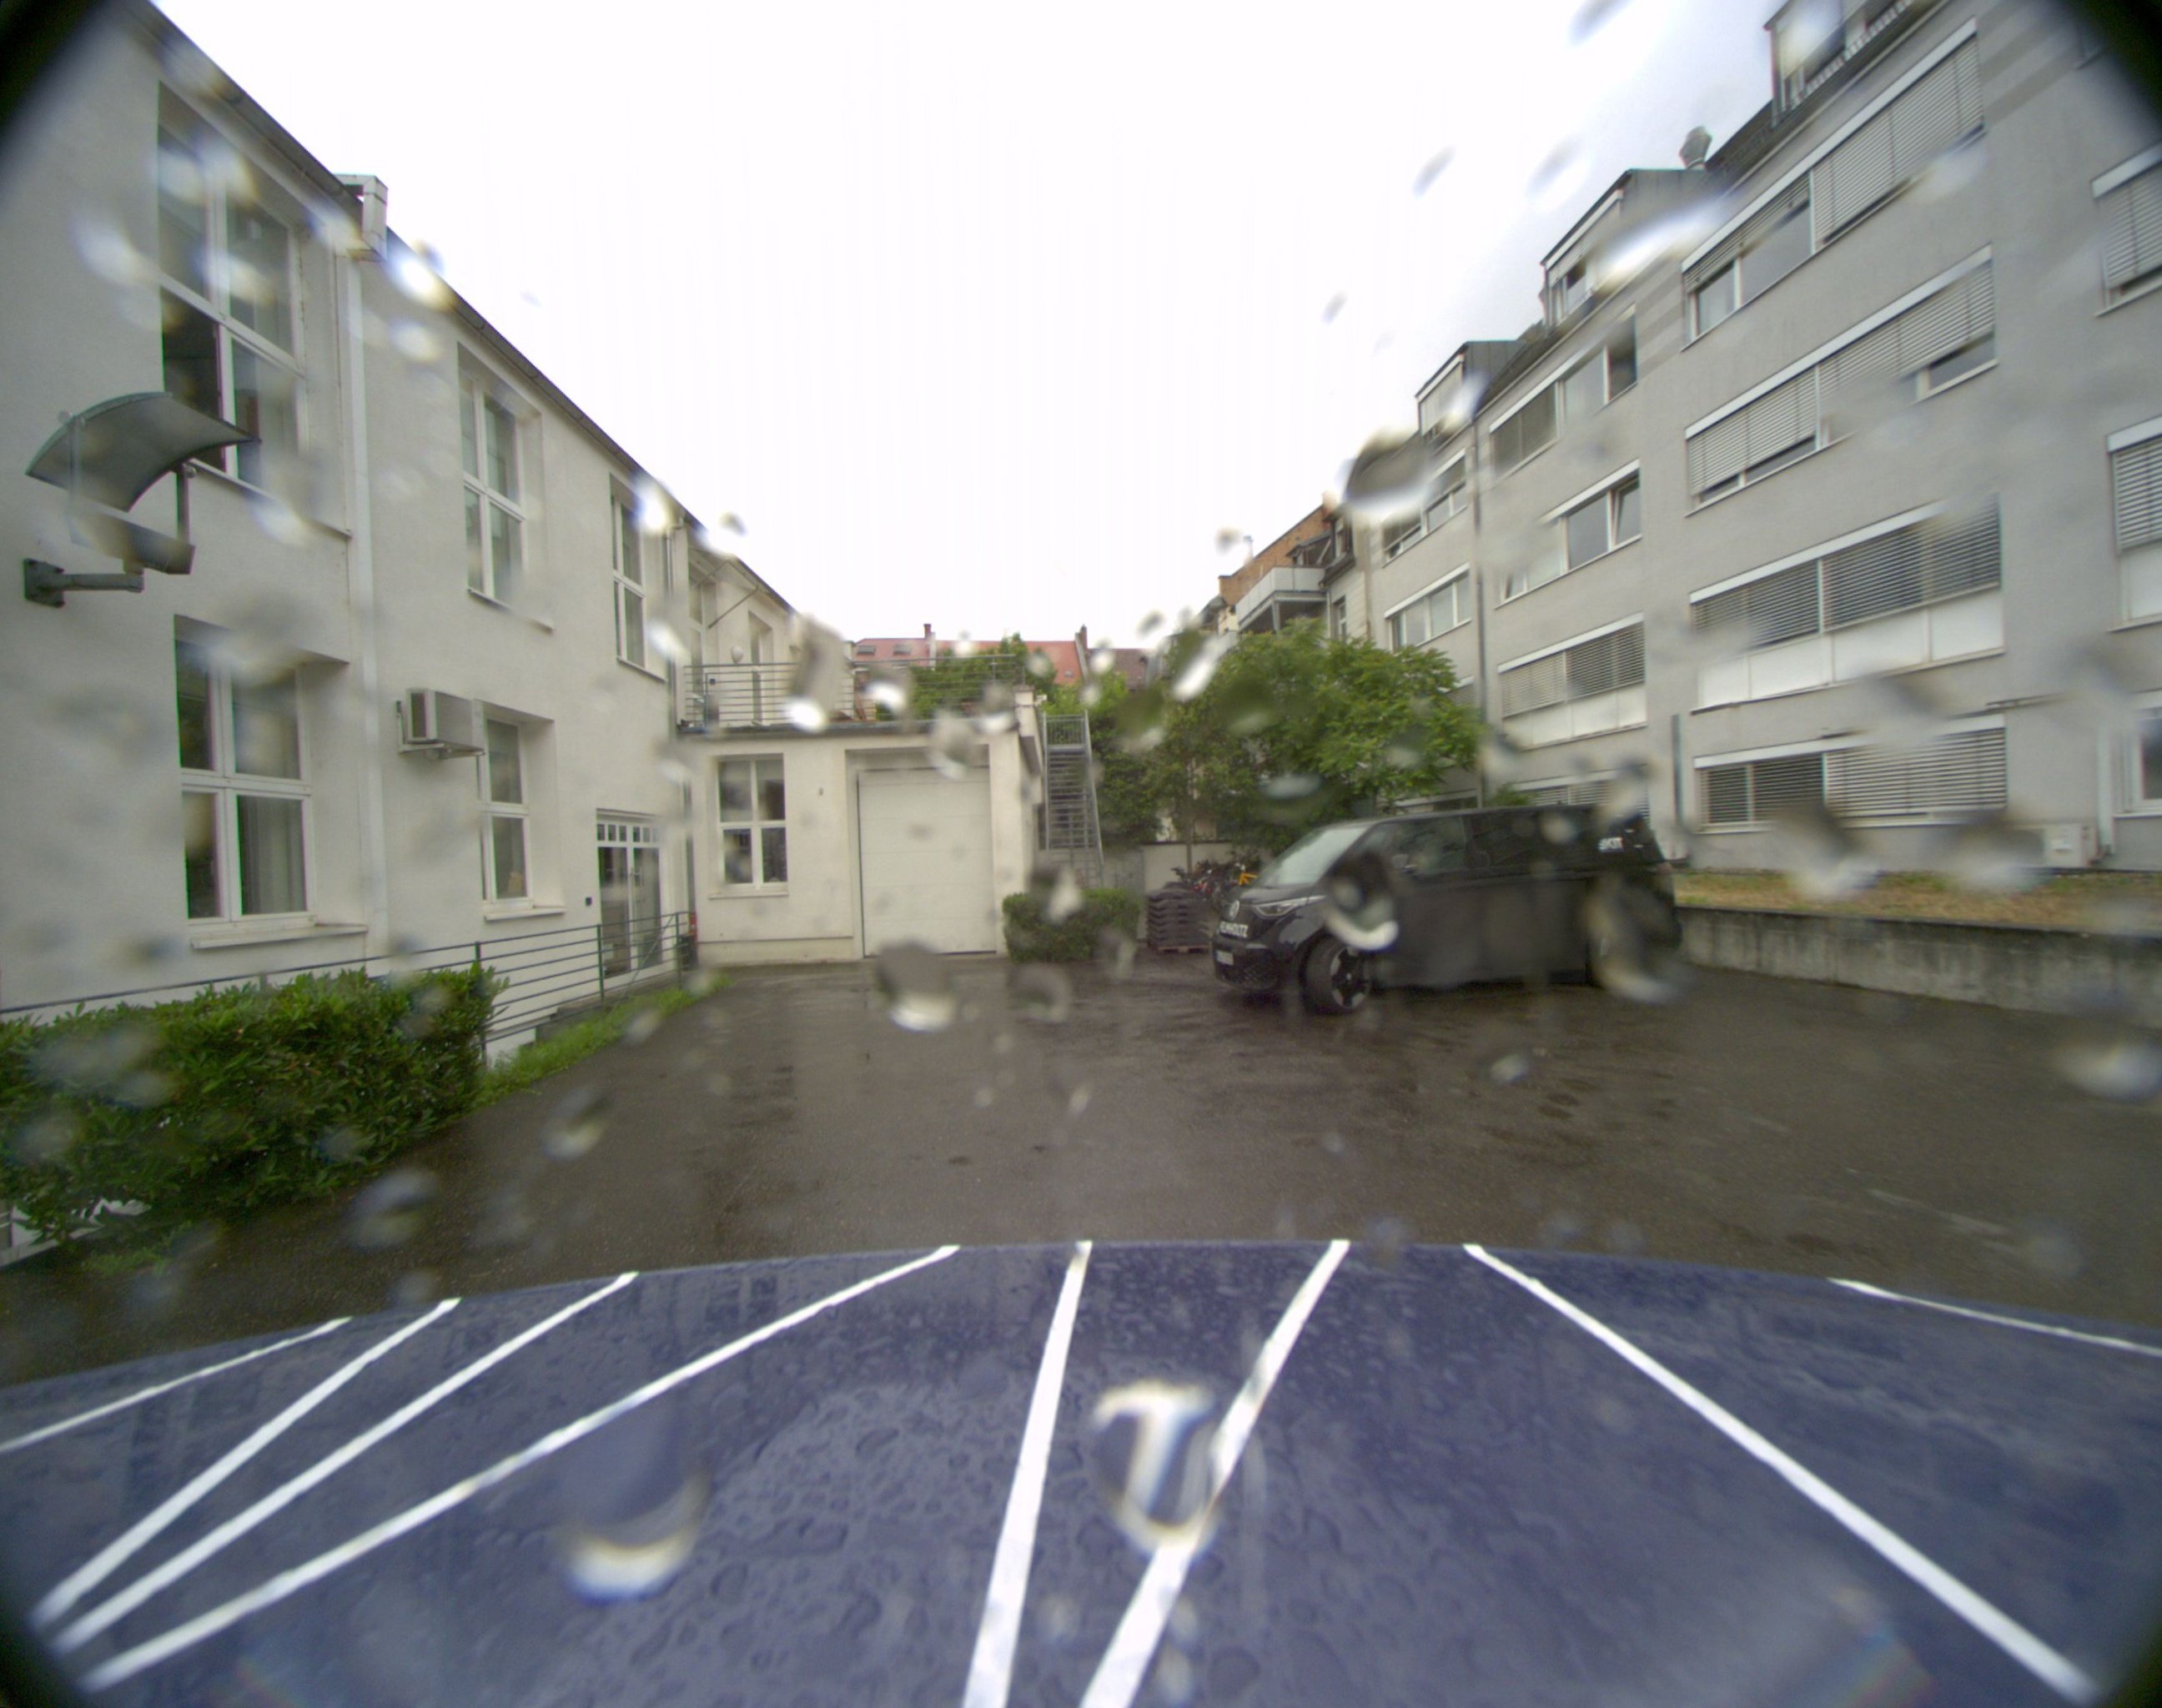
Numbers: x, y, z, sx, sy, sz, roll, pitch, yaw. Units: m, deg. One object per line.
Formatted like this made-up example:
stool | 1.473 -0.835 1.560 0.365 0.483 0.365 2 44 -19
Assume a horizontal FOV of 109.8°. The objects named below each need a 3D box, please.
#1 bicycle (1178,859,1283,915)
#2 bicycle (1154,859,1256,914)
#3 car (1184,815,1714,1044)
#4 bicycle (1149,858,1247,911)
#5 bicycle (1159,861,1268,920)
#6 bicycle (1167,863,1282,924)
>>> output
bicycle | 3.517 0.764 17.930 2.319 1.180 0.643 -2 3 -1
bicycle | 2.986 0.766 18.417 2.319 1.180 0.643 -2 3 -1
car | 3.655 0.664 7.989 4.631 1.825 1.987 -3 -1 -9
bicycle | 2.917 0.743 19.047 2.319 1.180 0.643 -2 3 -1
bicycle | 2.987 0.814 17.250 2.319 1.180 0.643 -2 3 -1
bicycle | 3.093 0.843 16.455 2.319 1.180 0.643 -2 3 -1
